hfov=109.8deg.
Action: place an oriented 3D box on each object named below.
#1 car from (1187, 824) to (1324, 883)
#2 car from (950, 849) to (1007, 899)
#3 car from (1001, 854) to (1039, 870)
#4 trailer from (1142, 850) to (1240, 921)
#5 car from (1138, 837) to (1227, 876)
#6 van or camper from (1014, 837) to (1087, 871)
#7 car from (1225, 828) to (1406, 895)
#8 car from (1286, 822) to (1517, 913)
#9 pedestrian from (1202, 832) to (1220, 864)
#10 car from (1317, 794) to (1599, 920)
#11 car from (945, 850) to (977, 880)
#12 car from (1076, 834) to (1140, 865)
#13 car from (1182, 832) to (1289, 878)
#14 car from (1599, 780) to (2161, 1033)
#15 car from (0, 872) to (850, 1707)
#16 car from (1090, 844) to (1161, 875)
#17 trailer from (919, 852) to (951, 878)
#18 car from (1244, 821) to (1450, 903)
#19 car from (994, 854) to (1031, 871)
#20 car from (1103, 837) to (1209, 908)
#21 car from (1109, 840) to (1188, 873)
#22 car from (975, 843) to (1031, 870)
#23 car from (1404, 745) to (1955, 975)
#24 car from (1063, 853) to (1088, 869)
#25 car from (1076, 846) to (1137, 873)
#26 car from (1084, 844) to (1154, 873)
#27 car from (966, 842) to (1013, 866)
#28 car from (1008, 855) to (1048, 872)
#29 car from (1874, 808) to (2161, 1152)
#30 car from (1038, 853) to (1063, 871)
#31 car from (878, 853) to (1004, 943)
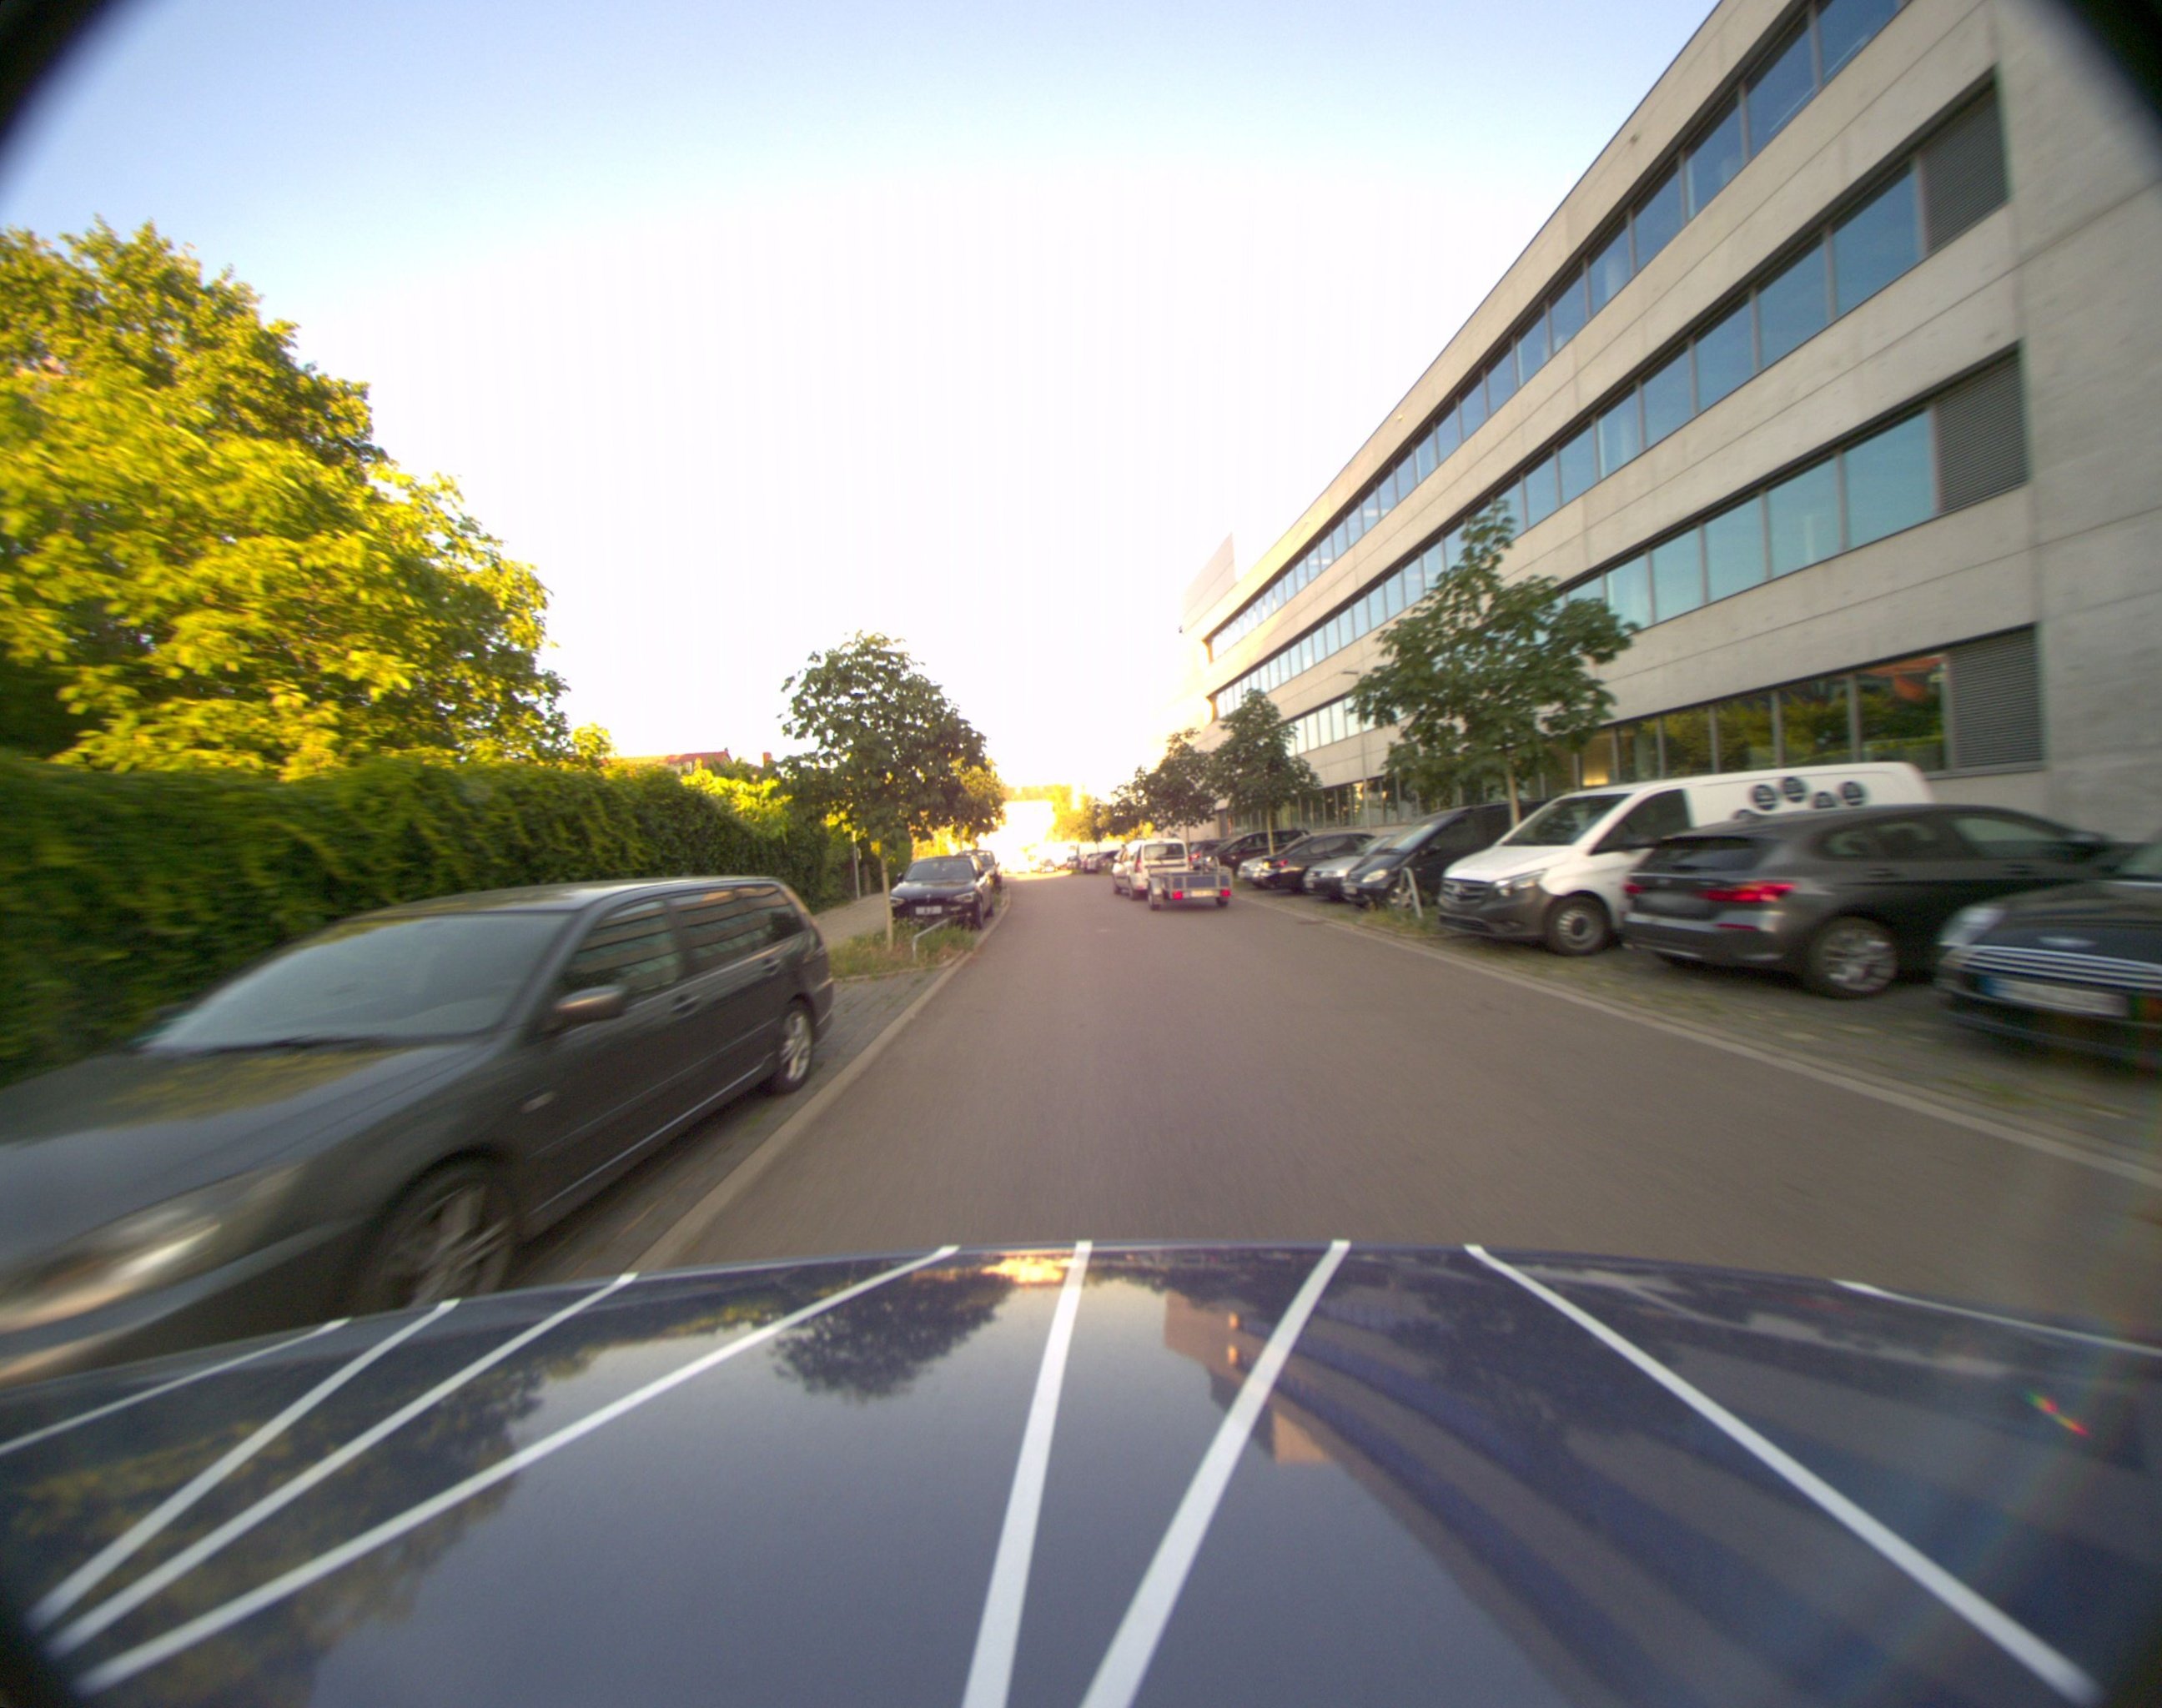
[{"bbox_3d":[6.154,-0.014,27.158,4.321,1.686,1.895,-5,1,-3],"label":"car"},{"bbox_3d":[-3.410,0.610,25.693,1.582,1.501,3.495,-3,1,-4],"label":"car"},{"bbox_3d":[-6.698,0.882,83.648,3.741,1.359,1.702,-6,1,-24],"label":"car"},{"bbox_3d":[2.405,0.639,17.353,1.710,1.341,3.486,-2,1,0],"label":"trailer"},{"bbox_3d":[4.929,0.122,37.268,3.882,1.502,1.759,-5,0,-9],"label":"car"},{"bbox_3d":[-3.062,-0.002,76.634,6.765,2.881,2.405,-5,1,-17],"label":"van or camper"},{"bbox_3d":[6.544,0.212,21.494,4.446,1.455,1.763,-4,0,-3],"label":"car"},{"bbox_3d":[6.804,0.261,16.387,4.155,1.396,1.724,-6,1,-3],"label":"car"},{"bbox_3d":[7.544,-0.328,44.078,0.648,1.774,0.724,-6,1,-9],"label":"pedestrian"},{"bbox_3d":[6.868,0.030,14.112,4.258,1.732,1.724,-6,1,-3],"label":"car"},{"bbox_3d":[-9.310,0.879,58.571,2.072,2.082,4.868,-4,0,-12],"label":"car"},{"bbox_3d":[2.910,-0.481,81.525,6.264,2.658,2.220,-6,1,-15],"label":"car"},{"bbox_3d":[6.054,0.043,30.020,3.713,1.449,1.678,-5,1,-6],"label":"car"},{"bbox_3d":[7.000,0.359,6.443,3.997,1.514,1.605,-6,1,1],"label":"car"},{"bbox_3d":[-2.763,0.988,3.461,1.728,1.571,4.598,-3,1,3],"label":"car"},{"bbox_3d":[2.778,0.357,47.515,4.012,1.503,1.583,-6,-1,-15],"label":"car"},{"bbox_3d":[-13.911,1.078,72.116,2.072,2.198,5.215,-4,0,-20],"label":"trailer"},{"bbox_3d":[6.513,0.180,18.928,4.408,1.491,1.763,-6,1,1],"label":"car"},{"bbox_3d":[-7.758,0.956,86.099,3.643,1.510,1.702,-6,1,-24],"label":"car"},{"bbox_3d":[1.986,0.409,21.535,1.958,1.676,4.718,-3,2,-7],"label":"car"},{"bbox_3d":[3.788,0.151,42.881,3.999,1.502,1.759,-5,0,-9],"label":"car"},{"bbox_3d":[-9.195,0.258,89.175,5.911,2.519,2.407,-6,2,-21],"label":"car"},{"bbox_3d":[6.911,0.044,9.153,5.089,1.935,1.888,-6,1,-2],"label":"car"},{"bbox_3d":[-0.533,0.654,71.707,1.668,1.414,3.718,-5,0,-11],"label":"car"},{"bbox_3d":[1.736,0.358,52.741,3.748,1.473,1.768,-6,0,-15],"label":"car"},{"bbox_3d":[2.493,0.302,50.090,4.100,1.520,1.844,-6,0,-15],"label":"car"},{"bbox_3d":[-12.586,0.014,104.631,5.850,2.697,2.047,-7,1,-27],"label":"car"},{"bbox_3d":[-5.630,1.014,81.120,3.823,1.321,1.690,-6,1,-22],"label":"car"},{"bbox_3d":[6.883,0.442,3.870,3.896,1.480,1.651,-6,1,-1],"label":"car"},{"bbox_3d":[-2.957,0.762,72.029,1.692,1.510,4.357,-6,1,-9],"label":"car"},{"bbox_3d":[-2.707,0.786,15.688,1.697,1.501,4.192,-3,1,1],"label":"car"}]
